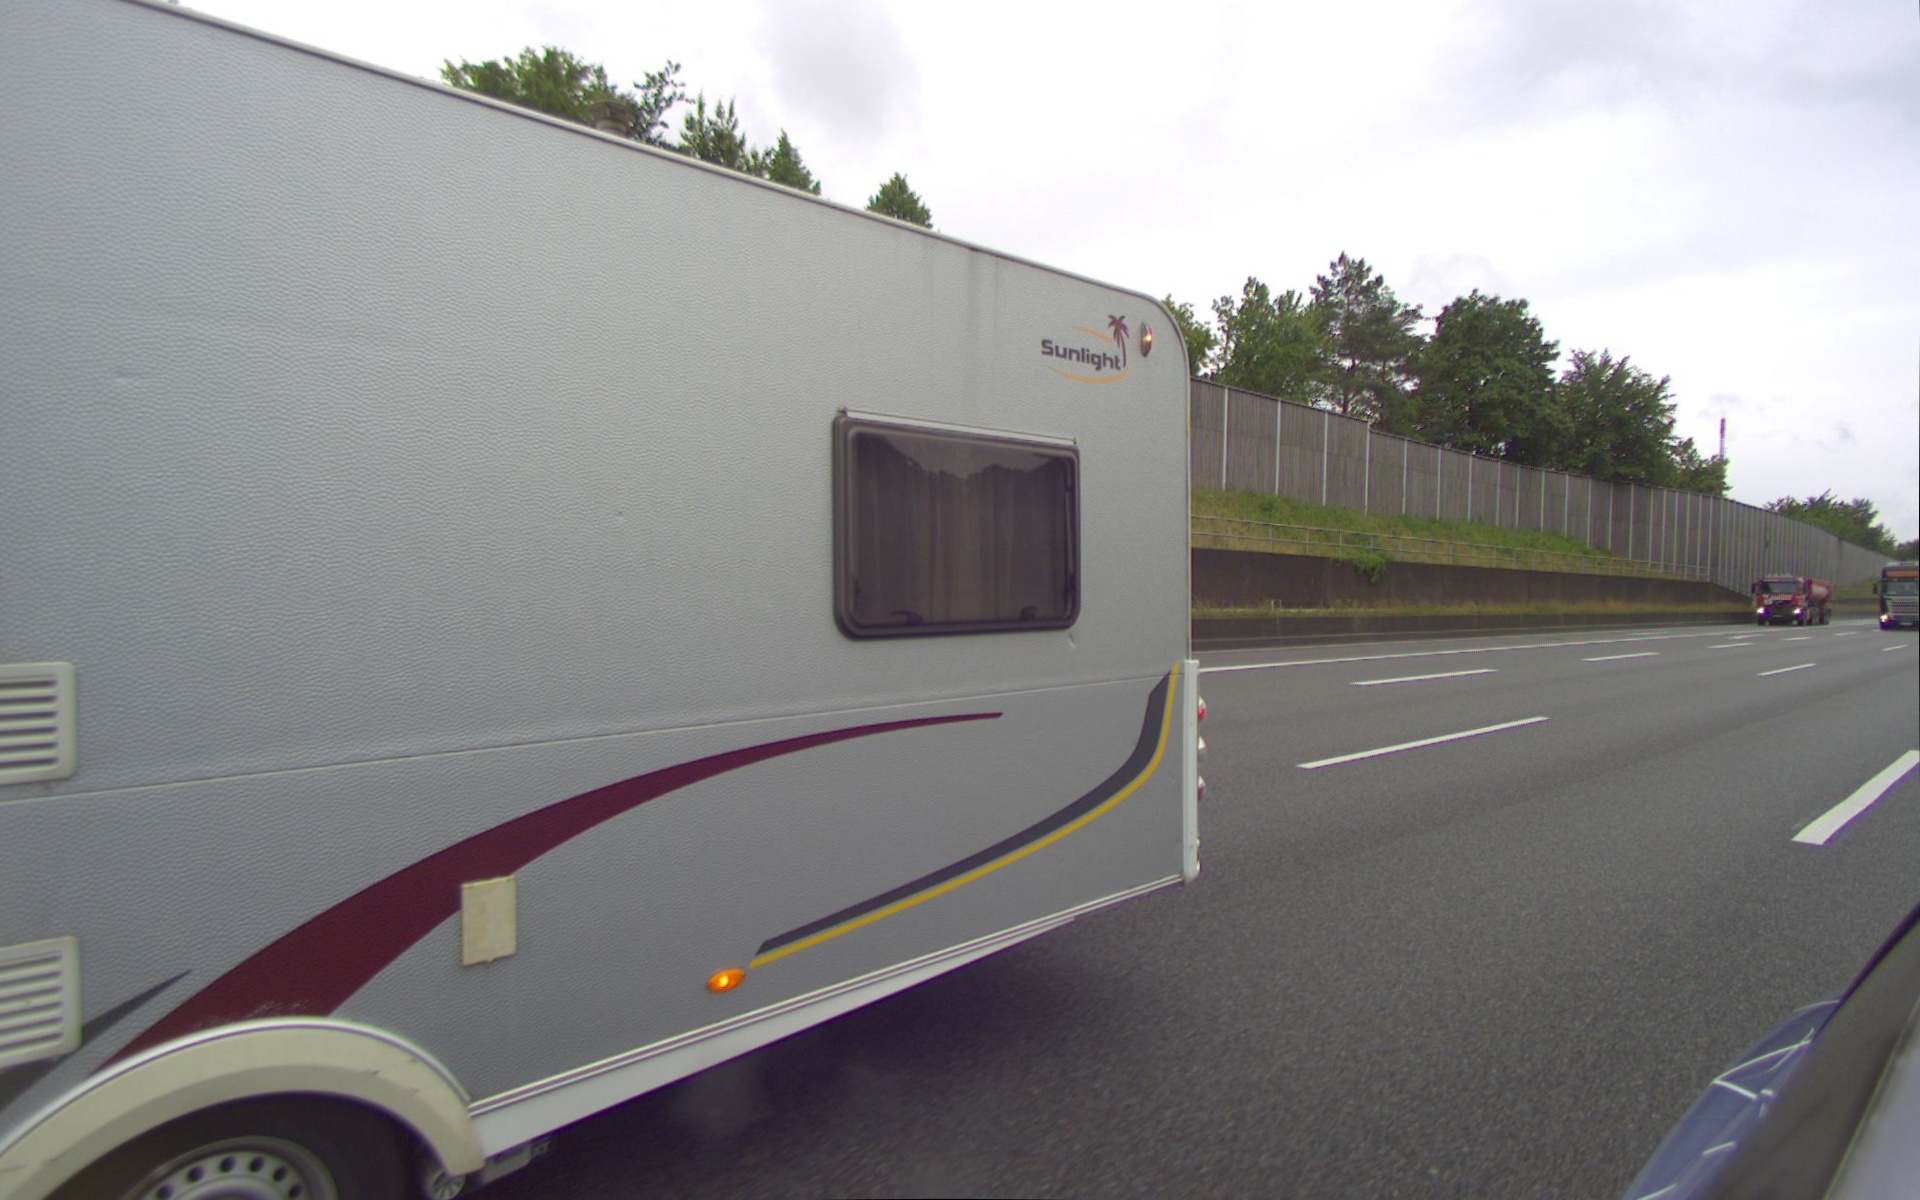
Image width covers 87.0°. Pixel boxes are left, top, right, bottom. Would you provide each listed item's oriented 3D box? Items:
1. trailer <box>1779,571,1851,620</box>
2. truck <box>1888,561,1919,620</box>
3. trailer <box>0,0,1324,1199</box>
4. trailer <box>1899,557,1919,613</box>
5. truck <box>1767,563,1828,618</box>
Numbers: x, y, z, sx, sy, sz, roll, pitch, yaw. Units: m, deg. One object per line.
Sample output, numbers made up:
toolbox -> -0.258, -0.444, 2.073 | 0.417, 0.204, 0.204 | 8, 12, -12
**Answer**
trailer -> 60.158, -0.339, 71.120 | 9.237, 3.288, 2.451 | 0, 2, -41
truck -> 55.274, -0.551, 57.901 | 4.551, 3.277, 2.616 | 0, 1, -41
trailer -> -2.233, 0.056, 2.523 | 7.381, 2.675, 2.725 | 0, 1, -42
trailer -> 60.419, -0.870, 62.371 | 9.741, 3.288, 2.599 | 0, 2, -41
truck -> 55.766, -0.635, 67.365 | 3.930, 3.508, 2.419 | 0, 1, -41
